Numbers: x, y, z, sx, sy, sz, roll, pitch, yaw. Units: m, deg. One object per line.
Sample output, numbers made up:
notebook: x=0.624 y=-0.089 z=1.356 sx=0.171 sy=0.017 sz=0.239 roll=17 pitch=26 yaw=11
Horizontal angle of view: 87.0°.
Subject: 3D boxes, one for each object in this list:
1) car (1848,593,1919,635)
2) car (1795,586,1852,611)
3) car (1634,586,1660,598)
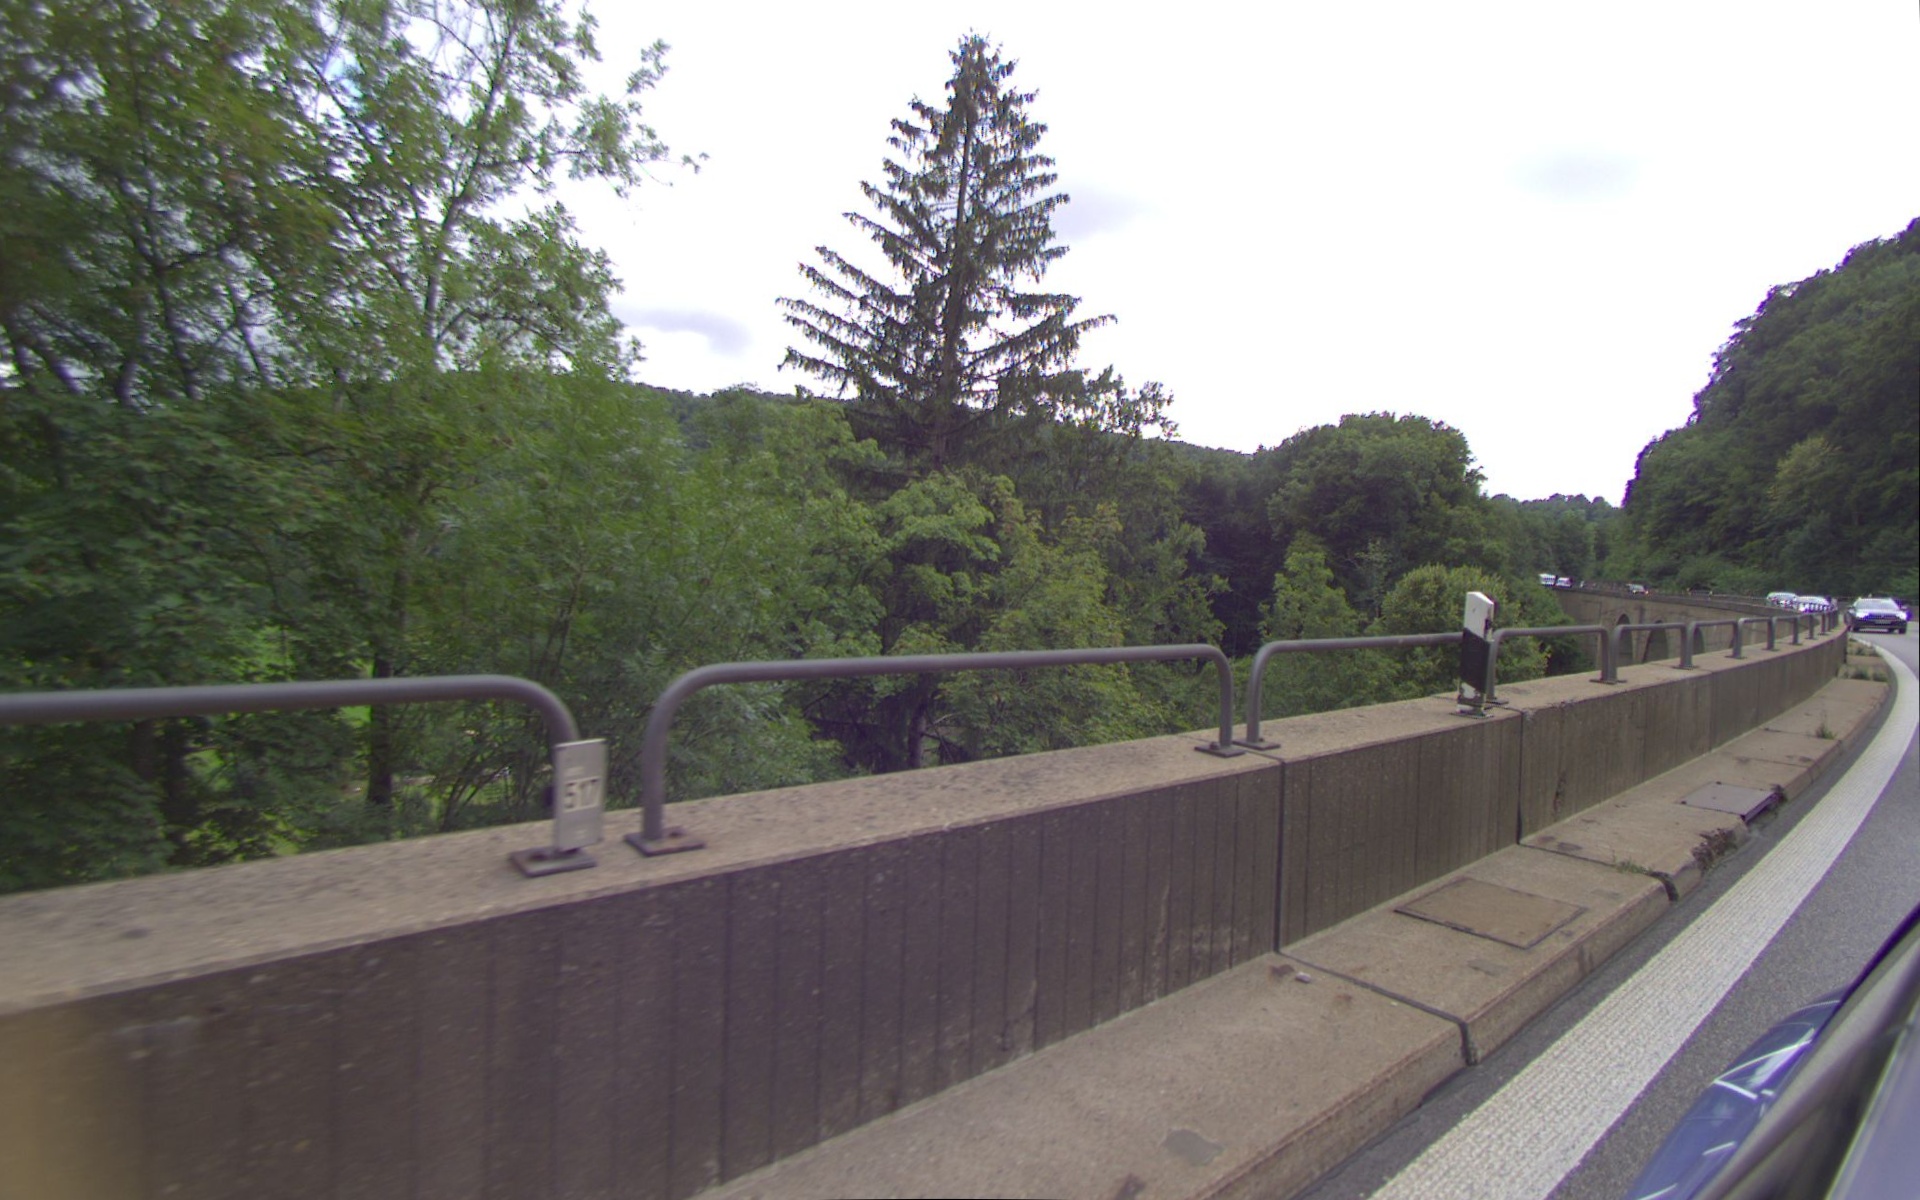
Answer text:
car: x=40.168 y=0.568 z=43.896 sx=1.951 sy=1.727 sz=3.953 roll=0 pitch=1 yaw=33
car: x=48.487 y=-0.121 z=56.926 sx=1.875 sy=1.336 sz=3.954 roll=0 pitch=1 yaw=32
car: x=76.676 y=-0.910 z=112.990 sx=1.869 sy=1.336 sz=3.966 roll=0 pitch=1 yaw=25
